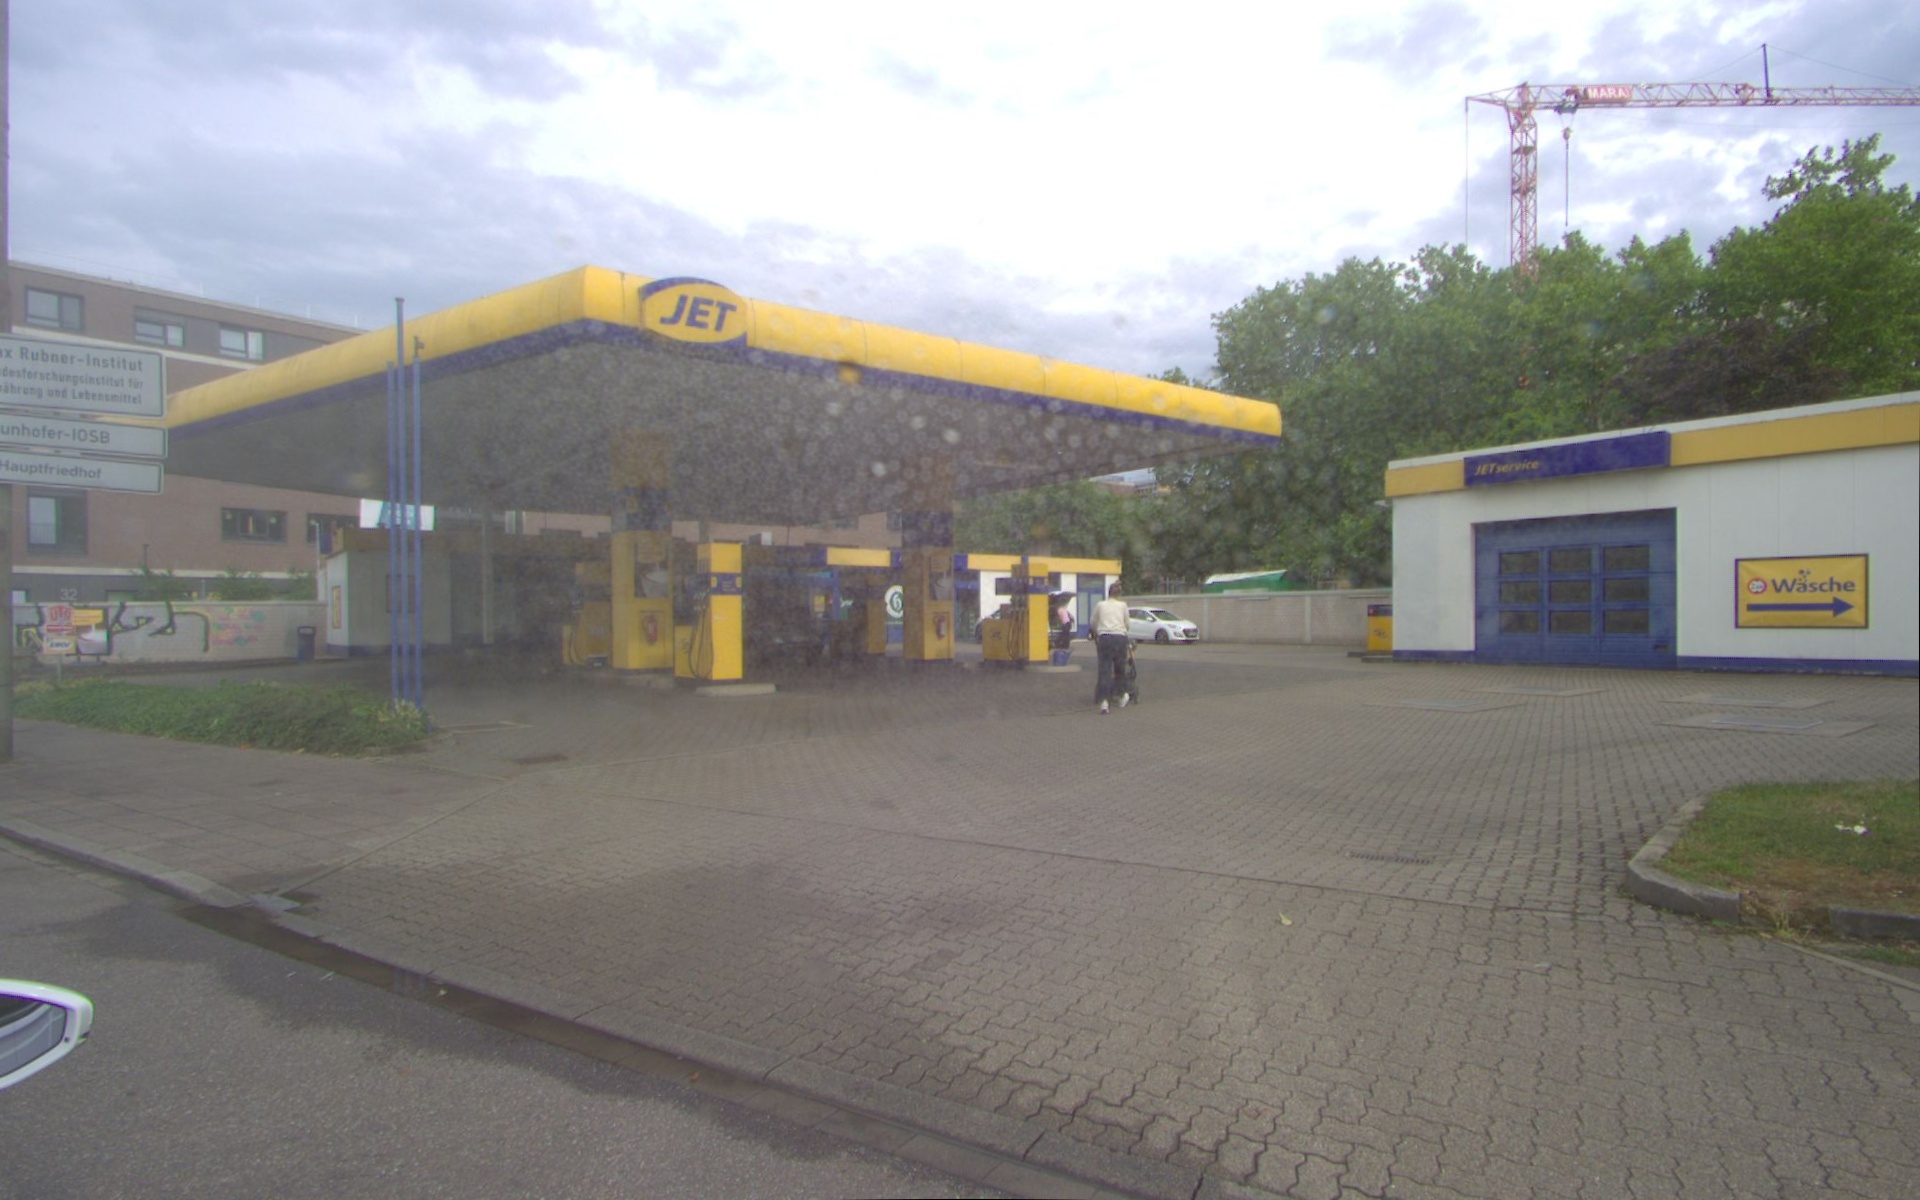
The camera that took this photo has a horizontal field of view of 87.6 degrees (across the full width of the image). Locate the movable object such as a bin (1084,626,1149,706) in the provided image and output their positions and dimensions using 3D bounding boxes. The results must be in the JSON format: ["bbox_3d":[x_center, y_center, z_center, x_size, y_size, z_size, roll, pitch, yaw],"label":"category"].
[{"bbox_3d":[2.281,0.933,14.521,0.757,1.053,1.021,0,2,20],"label":"movable object such as a bin"}]

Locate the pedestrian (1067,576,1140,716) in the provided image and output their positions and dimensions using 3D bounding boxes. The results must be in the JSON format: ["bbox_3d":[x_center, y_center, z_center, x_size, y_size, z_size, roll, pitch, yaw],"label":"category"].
[{"bbox_3d":[1.972,0.582,13.658,0.757,1.821,1.159,0,2,20],"label":"pedestrian"}]

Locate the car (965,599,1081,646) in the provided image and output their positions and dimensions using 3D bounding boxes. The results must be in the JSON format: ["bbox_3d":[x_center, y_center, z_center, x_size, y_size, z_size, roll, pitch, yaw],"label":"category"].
[{"bbox_3d":[2.336,0.911,38.252,1.821,1.658,4.440,2,-3,-42],"label":"car"}]

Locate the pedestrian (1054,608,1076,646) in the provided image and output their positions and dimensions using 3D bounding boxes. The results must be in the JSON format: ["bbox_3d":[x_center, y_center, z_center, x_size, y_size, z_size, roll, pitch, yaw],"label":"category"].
[{"bbox_3d":[3.825,0.985,36.496,0.573,1.364,0.607,1,-2,-38],"label":"pedestrian"}]

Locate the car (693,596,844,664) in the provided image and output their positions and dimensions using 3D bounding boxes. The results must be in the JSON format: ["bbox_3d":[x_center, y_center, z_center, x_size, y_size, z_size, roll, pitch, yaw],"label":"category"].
[{"bbox_3d":[-4.852,0.747,24.951,1.972,1.516,4.294,-1,-1,-38],"label":"car"}]

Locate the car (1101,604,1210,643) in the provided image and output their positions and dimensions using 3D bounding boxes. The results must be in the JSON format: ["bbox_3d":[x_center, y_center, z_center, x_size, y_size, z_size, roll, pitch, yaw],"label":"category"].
[{"bbox_3d":[8.098,1.031,41.865,1.915,1.546,4.302,2,-3,-38],"label":"car"}]
